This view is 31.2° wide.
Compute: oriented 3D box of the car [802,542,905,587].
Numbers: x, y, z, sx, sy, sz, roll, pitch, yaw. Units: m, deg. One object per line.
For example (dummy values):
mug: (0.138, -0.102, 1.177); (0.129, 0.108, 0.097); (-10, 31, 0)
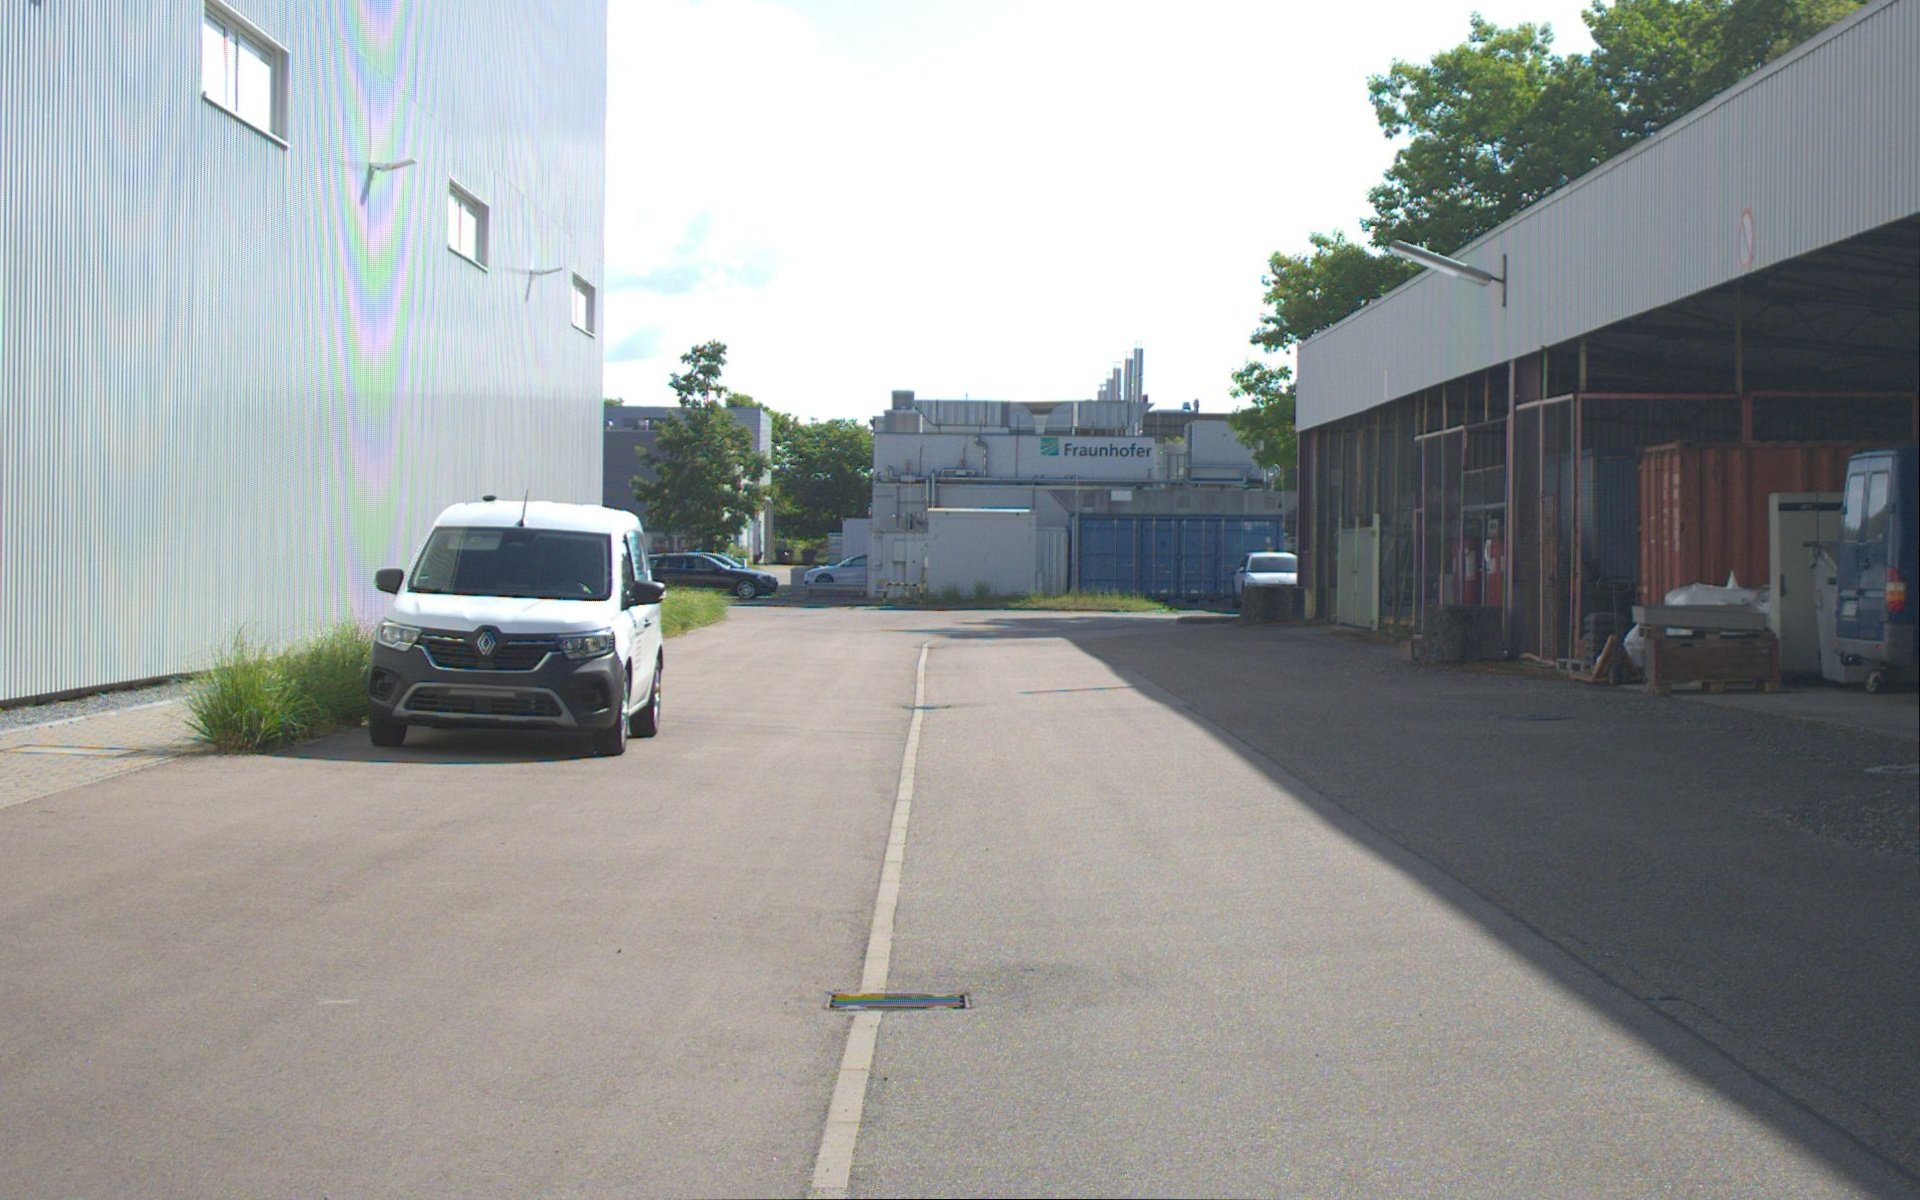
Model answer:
car: (-4.193, -1.388, 135.676); (3.987, 1.592, 1.848); (2, -1, -1)

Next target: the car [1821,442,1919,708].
car: (10.211, -0.130, 30.846); (4.433, 2.302, 1.915); (2, -1, 1)

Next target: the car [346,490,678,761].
car: (-3.226, 0.128, 25.577); (1.818, 1.781, 4.405); (2, 1, 0)

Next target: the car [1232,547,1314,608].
car: (8.659, -0.642, 95.329); (1.962, 1.559, 4.059); (2, 1, 2)

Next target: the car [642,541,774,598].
car: (-7.898, -0.943, 107.812); (3.987, 1.592, 1.742); (2, -1, -1)
